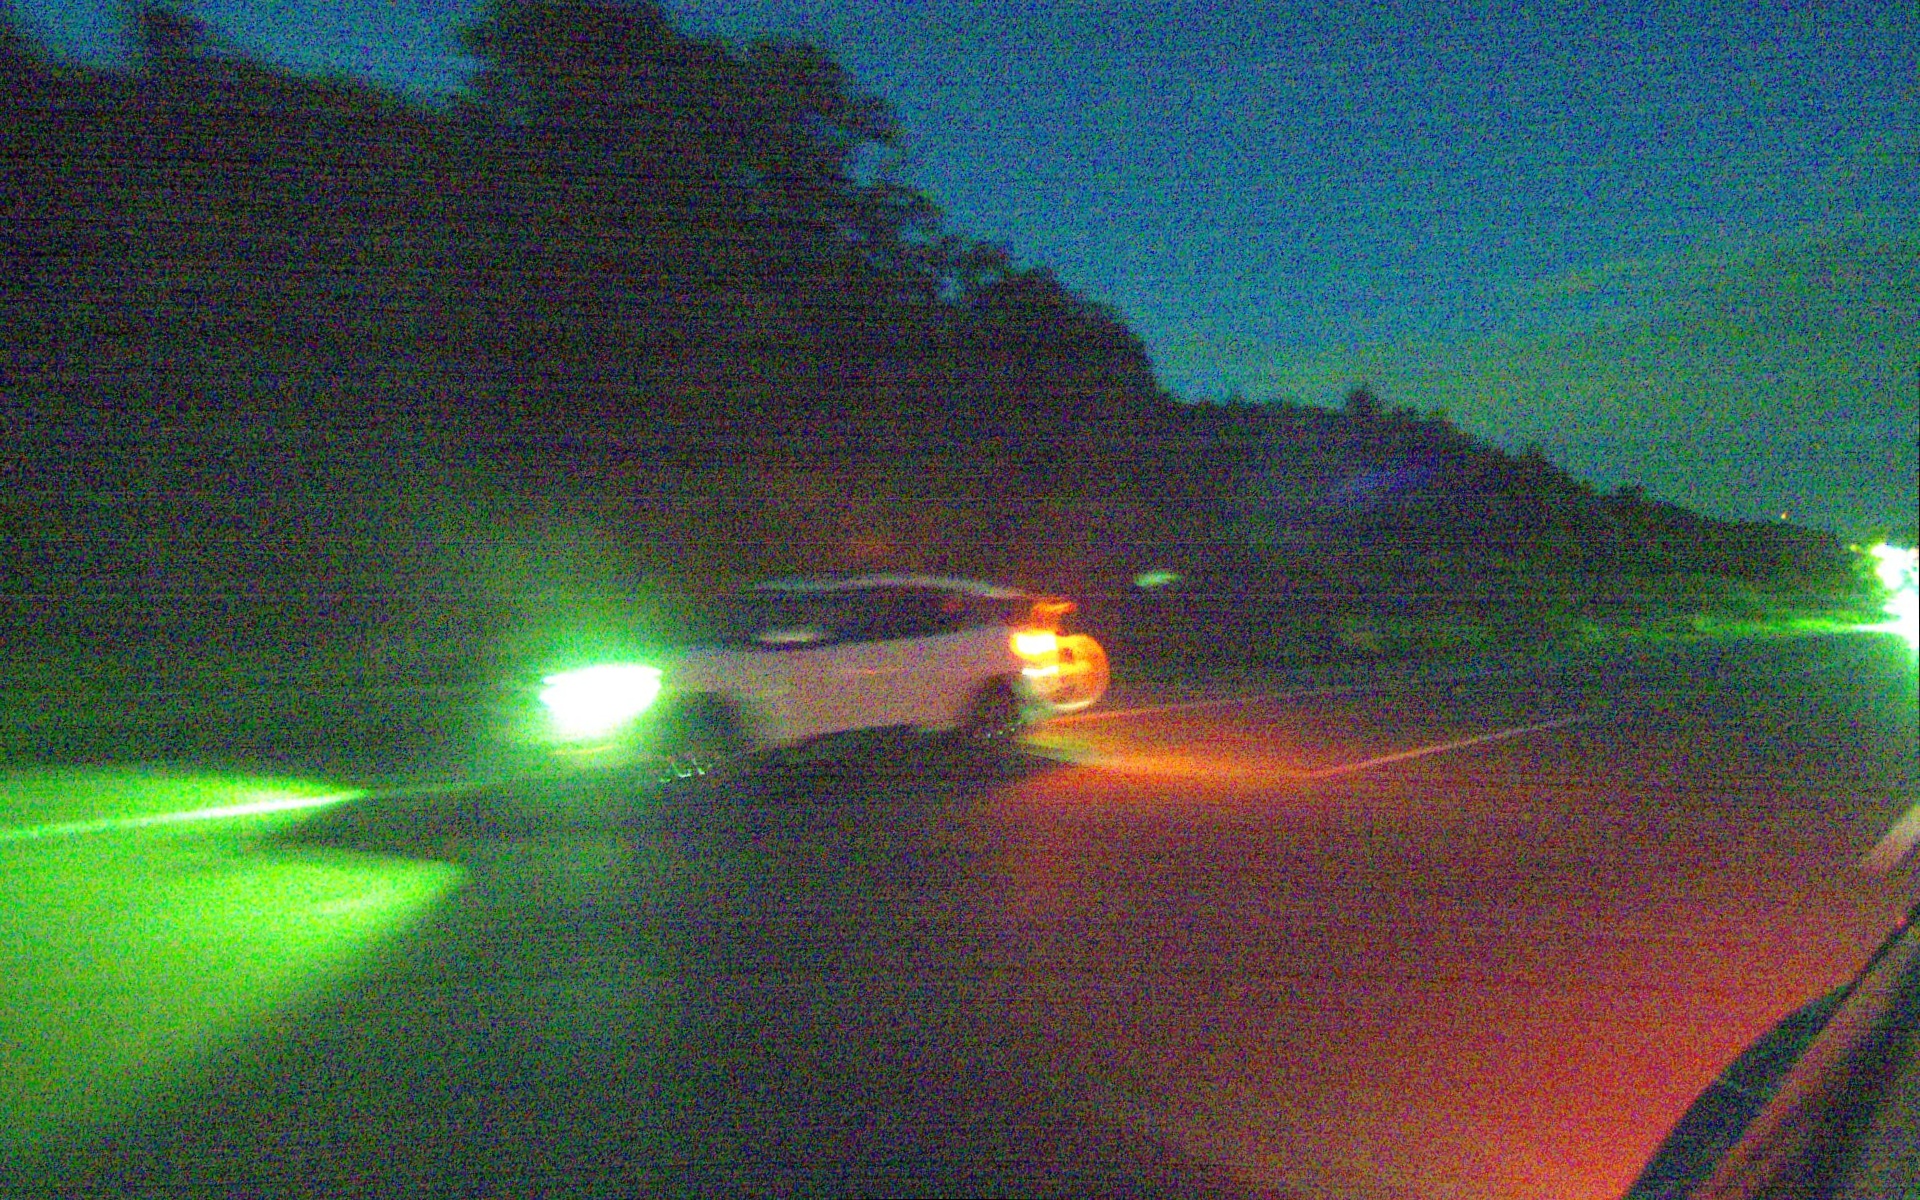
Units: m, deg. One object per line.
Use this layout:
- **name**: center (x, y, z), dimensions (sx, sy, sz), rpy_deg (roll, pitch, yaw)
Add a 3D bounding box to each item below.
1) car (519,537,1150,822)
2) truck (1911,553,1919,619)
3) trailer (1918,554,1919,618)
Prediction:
- **car**: center (-0.785, 0.467, 8.596), dimensions (5.077, 1.739, 1.997), rpy_deg (0, 1, -41)
- **truck**: center (67.874, -0.958, 69.385), dimensions (6.874, 4.489, 3.342), rpy_deg (0, 0, -42)
- **trailer**: center (73.323, -1.017, 74.344), dimensions (13.344, 4.489, 3.342), rpy_deg (-1, 1, -42)
